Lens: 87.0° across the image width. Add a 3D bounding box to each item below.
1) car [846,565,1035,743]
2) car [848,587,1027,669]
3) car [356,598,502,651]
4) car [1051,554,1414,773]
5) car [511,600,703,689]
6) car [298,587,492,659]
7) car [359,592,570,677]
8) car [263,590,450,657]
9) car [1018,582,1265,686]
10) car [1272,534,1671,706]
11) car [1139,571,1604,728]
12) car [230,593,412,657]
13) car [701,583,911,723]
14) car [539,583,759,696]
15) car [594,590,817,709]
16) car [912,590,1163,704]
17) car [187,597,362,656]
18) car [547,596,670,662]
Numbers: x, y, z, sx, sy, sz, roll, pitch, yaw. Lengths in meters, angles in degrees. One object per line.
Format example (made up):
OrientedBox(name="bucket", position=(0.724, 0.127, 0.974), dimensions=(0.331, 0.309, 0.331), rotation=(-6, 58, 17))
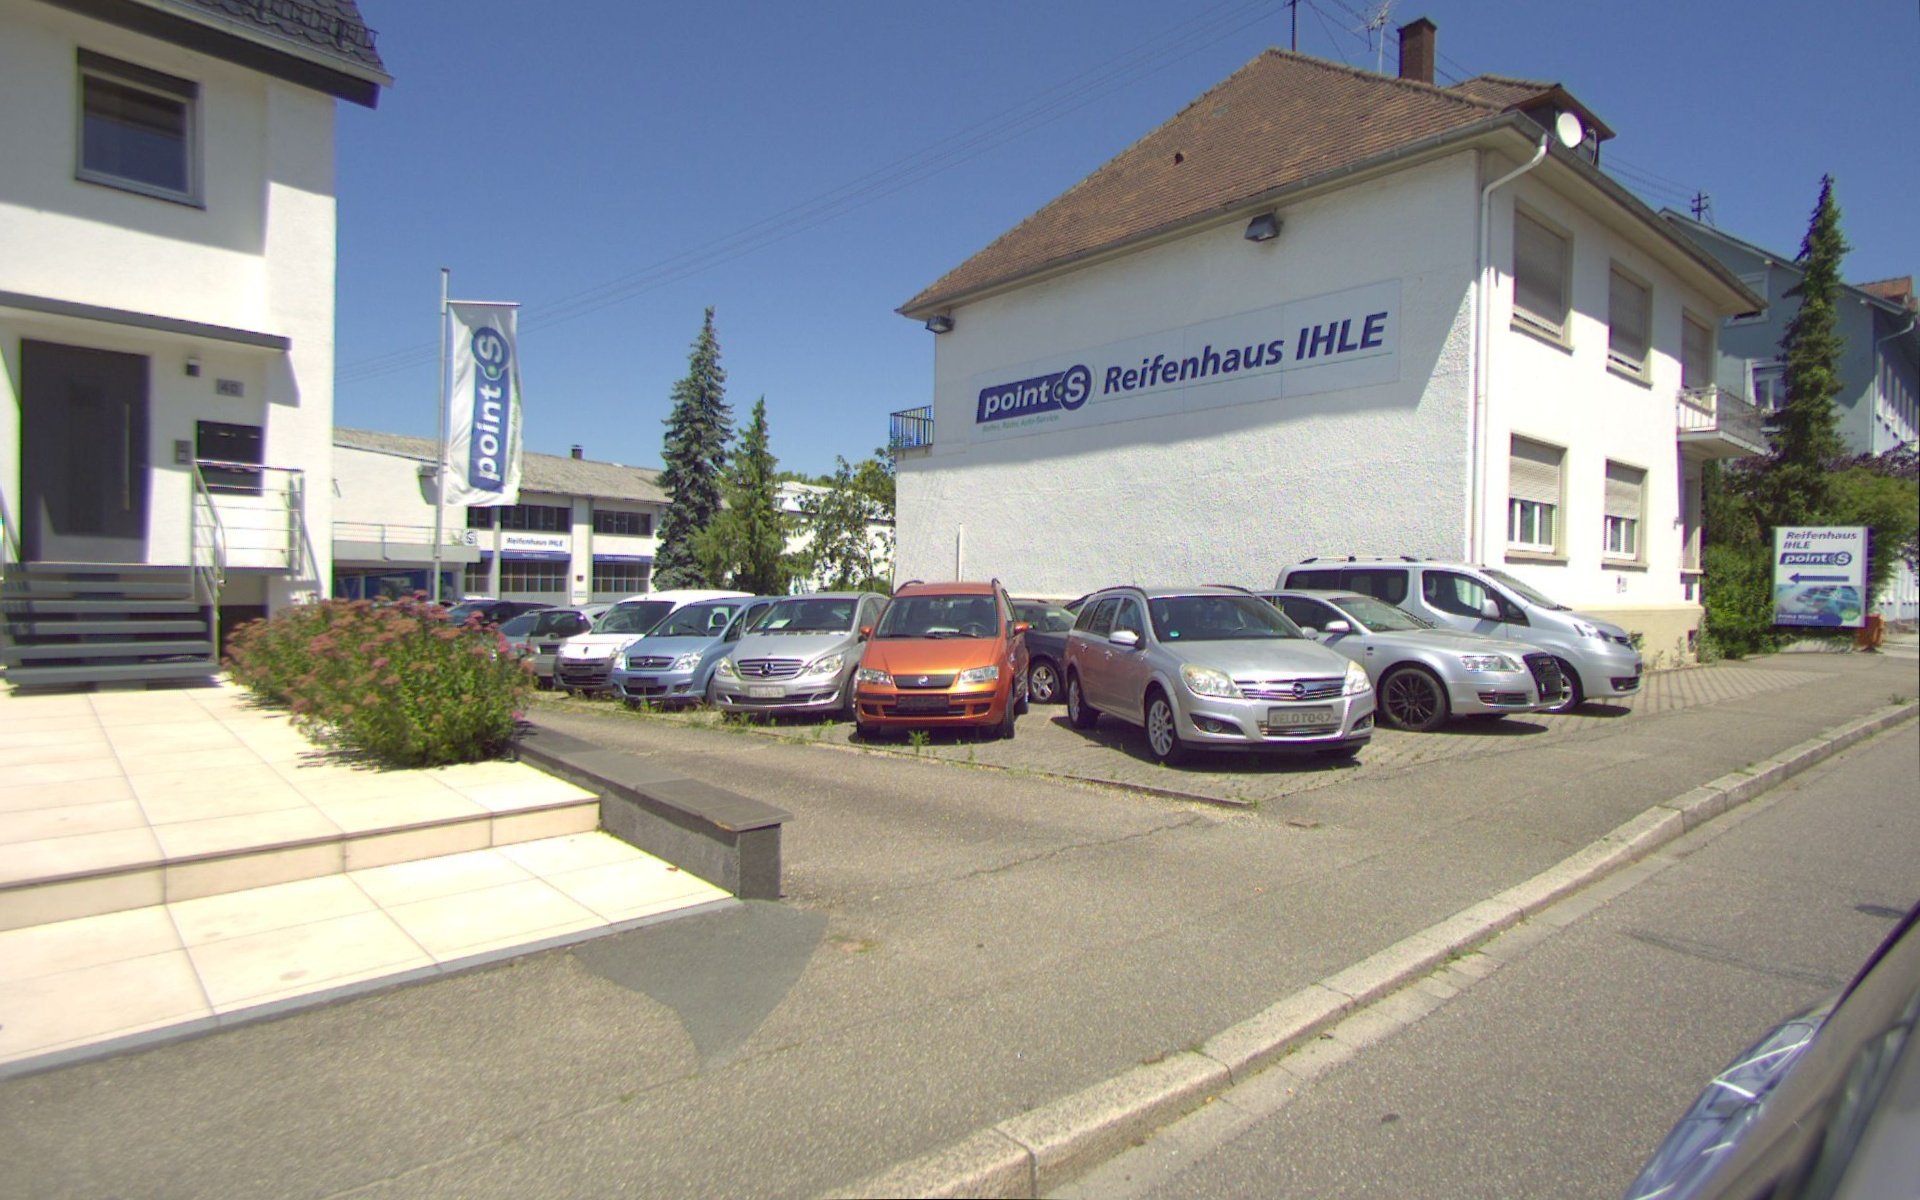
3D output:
OrientedBox(name="car", position=(-0.041, 0.533, 11.739), dimensions=(1.611, 1.663, 4.296), rotation=(-1, -1, 7))
OrientedBox(name="car", position=(-0.569, 0.505, 20.644), dimensions=(1.960, 1.505, 4.004), rotation=(0, 0, -30))
OrientedBox(name="car", position=(-16.577, 0.758, 31.752), dimensions=(1.654, 1.551, 3.737), rotation=(-2, -2, 32))
OrientedBox(name="car", position=(2.223, 0.479, 9.614), dimensions=(1.720, 1.567, 4.310), rotation=(-1, -1, -8))
OrientedBox(name="car", position=(-6.758, 0.836, 19.726), dimensions=(1.538, 1.551, 3.532), rotation=(-3, -2, 24))
OrientedBox(name="car", position=(-13.226, 0.543, 23.908), dimensions=(1.651, 1.551, 3.744), rotation=(-2, -2, 27))
OrientedBox(name="car", position=(-10.779, 0.716, 22.304), dimensions=(1.757, 1.700, 3.916), rotation=(0, -1, 27))
OrientedBox(name="car", position=(-15.189, 0.597, 25.643), dimensions=(1.654, 1.551, 3.737), rotation=(-2, -2, 32))
OrientedBox(name="car", position=(2.878, 0.494, 16.924), dimensions=(1.960, 1.505, 4.004), rotation=(0, 0, -30))
OrientedBox(name="car", position=(6.427, 0.275, 13.039), dimensions=(4.287, 1.854, 1.712), rotation=(-2, -2, 42))
OrientedBox(name="car", position=(4.391, 0.512, 11.531), dimensions=(1.737, 1.427, 4.649), rotation=(1, -2, -39))
OrientedBox(name="car", position=(-16.837, 0.657, 26.832), dimensions=(1.654, 1.551, 3.737), rotation=(-2, -2, 32))
OrientedBox(name="car", position=(-1.877, 0.627, 13.648), dimensions=(1.685, 1.582, 4.110), rotation=(-1, -1, 8))
OrientedBox(name="car", position=(-5.287, 0.653, 17.697), dimensions=(1.607, 1.747, 3.813), rotation=(-1, -2, 24))
OrientedBox(name="car", position=(-3.728, 0.676, 15.487), dimensions=(1.603, 1.582, 3.752), rotation=(-1, -1, 17))
OrientedBox(name="car", position=(1.041, 0.616, 15.635), dimensions=(1.960, 1.505, 4.004), rotation=(0, 0, -30))
OrientedBox(name="car", position=(-19.170, 0.729, 28.443), dimensions=(1.654, 1.551, 3.737), rotation=(-2, -2, 32))
OrientedBox(name="car", position=(-10.441, 0.804, 29.914), dimensions=(1.967, 1.816, 3.989), rotation=(0, 0, -44))
